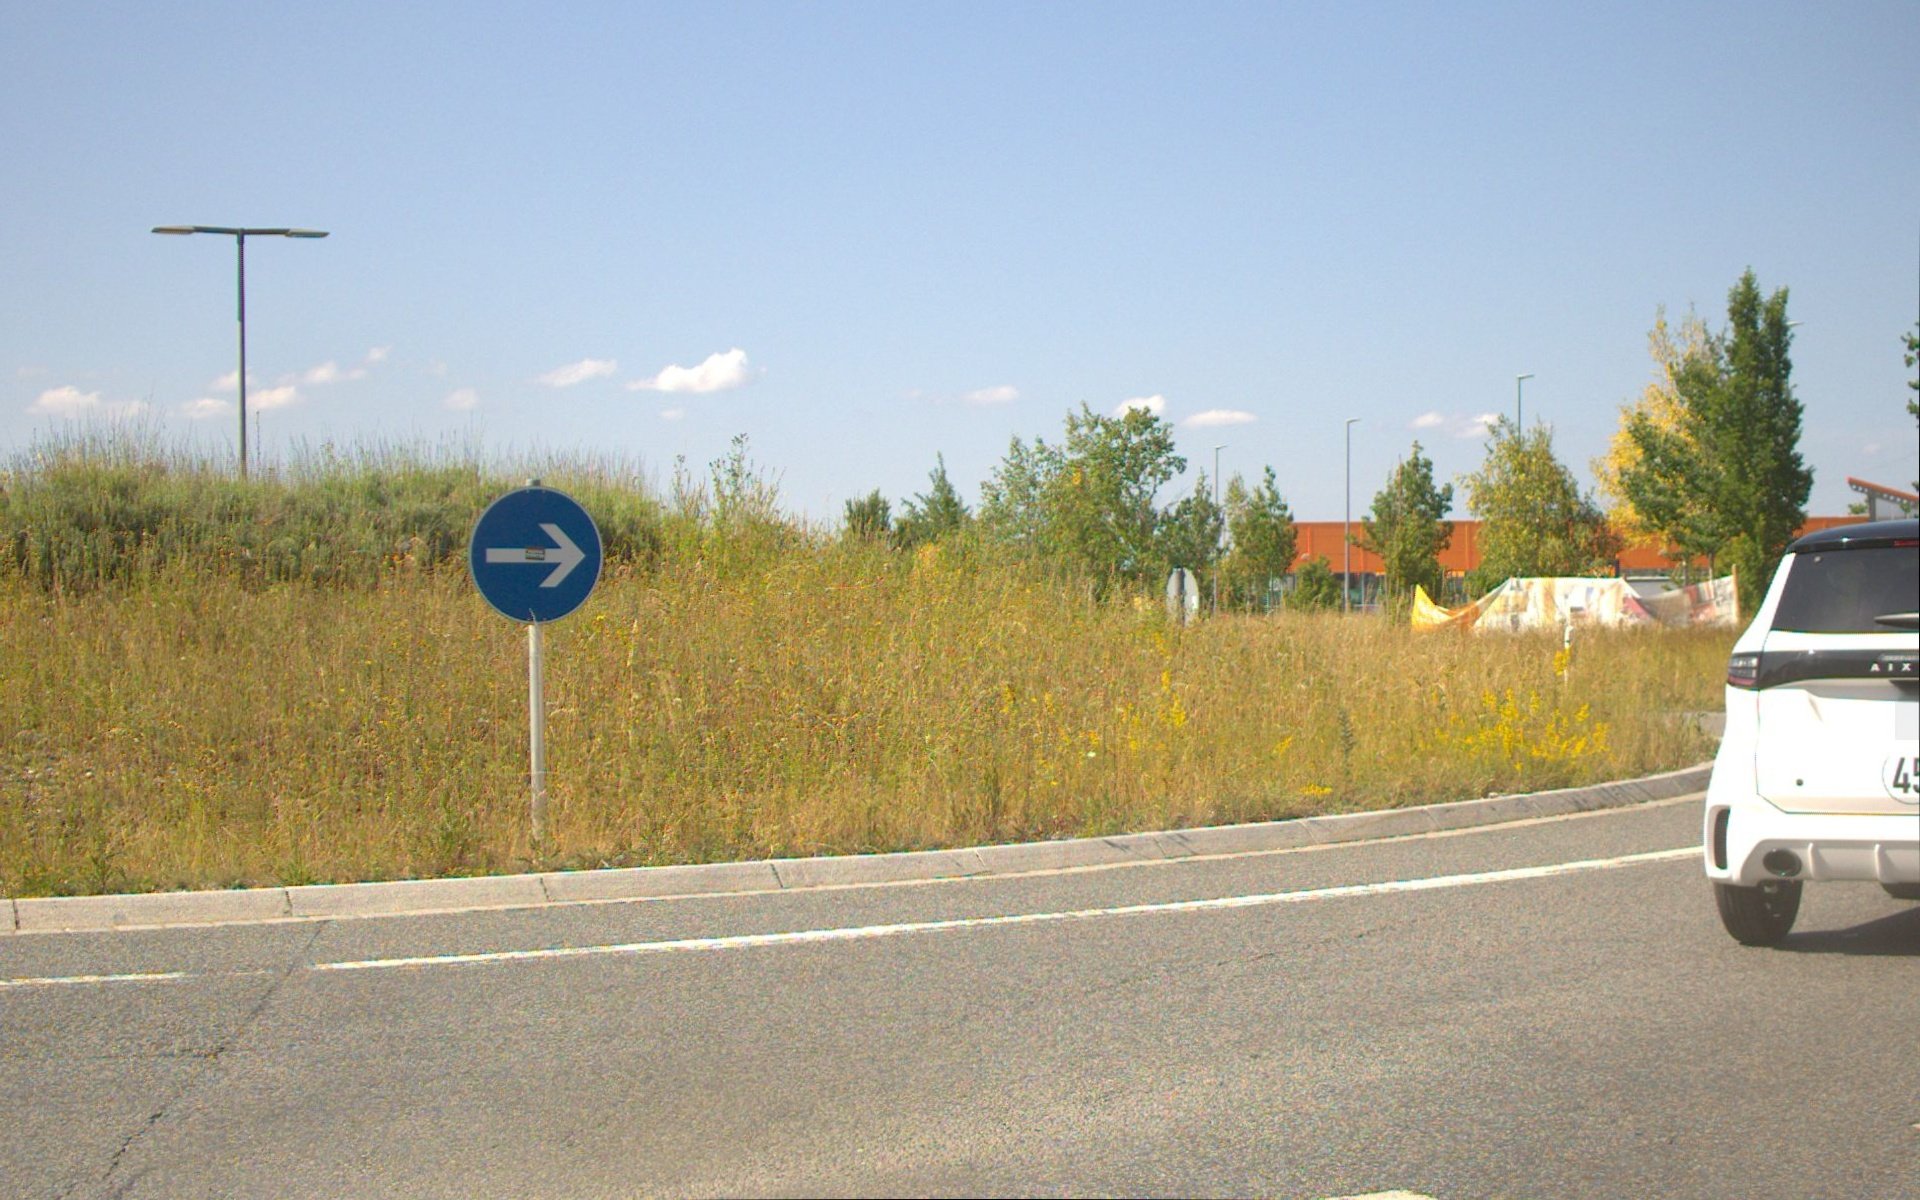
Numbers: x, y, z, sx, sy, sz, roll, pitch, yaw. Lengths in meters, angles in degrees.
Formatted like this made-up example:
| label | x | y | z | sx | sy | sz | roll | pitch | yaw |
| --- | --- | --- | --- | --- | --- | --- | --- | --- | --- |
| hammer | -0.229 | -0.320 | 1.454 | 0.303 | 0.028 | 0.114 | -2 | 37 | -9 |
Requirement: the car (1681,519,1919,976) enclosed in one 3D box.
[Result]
| label | x | y | z | sx | sy | sz | roll | pitch | yaw |
| --- | --- | --- | --- | --- | --- | --- | --- | --- | --- |
| car | 3.913 | 0.437 | 12.405 | 1.512 | 1.435 | 3.345 | 1 | 2 | 32 |
